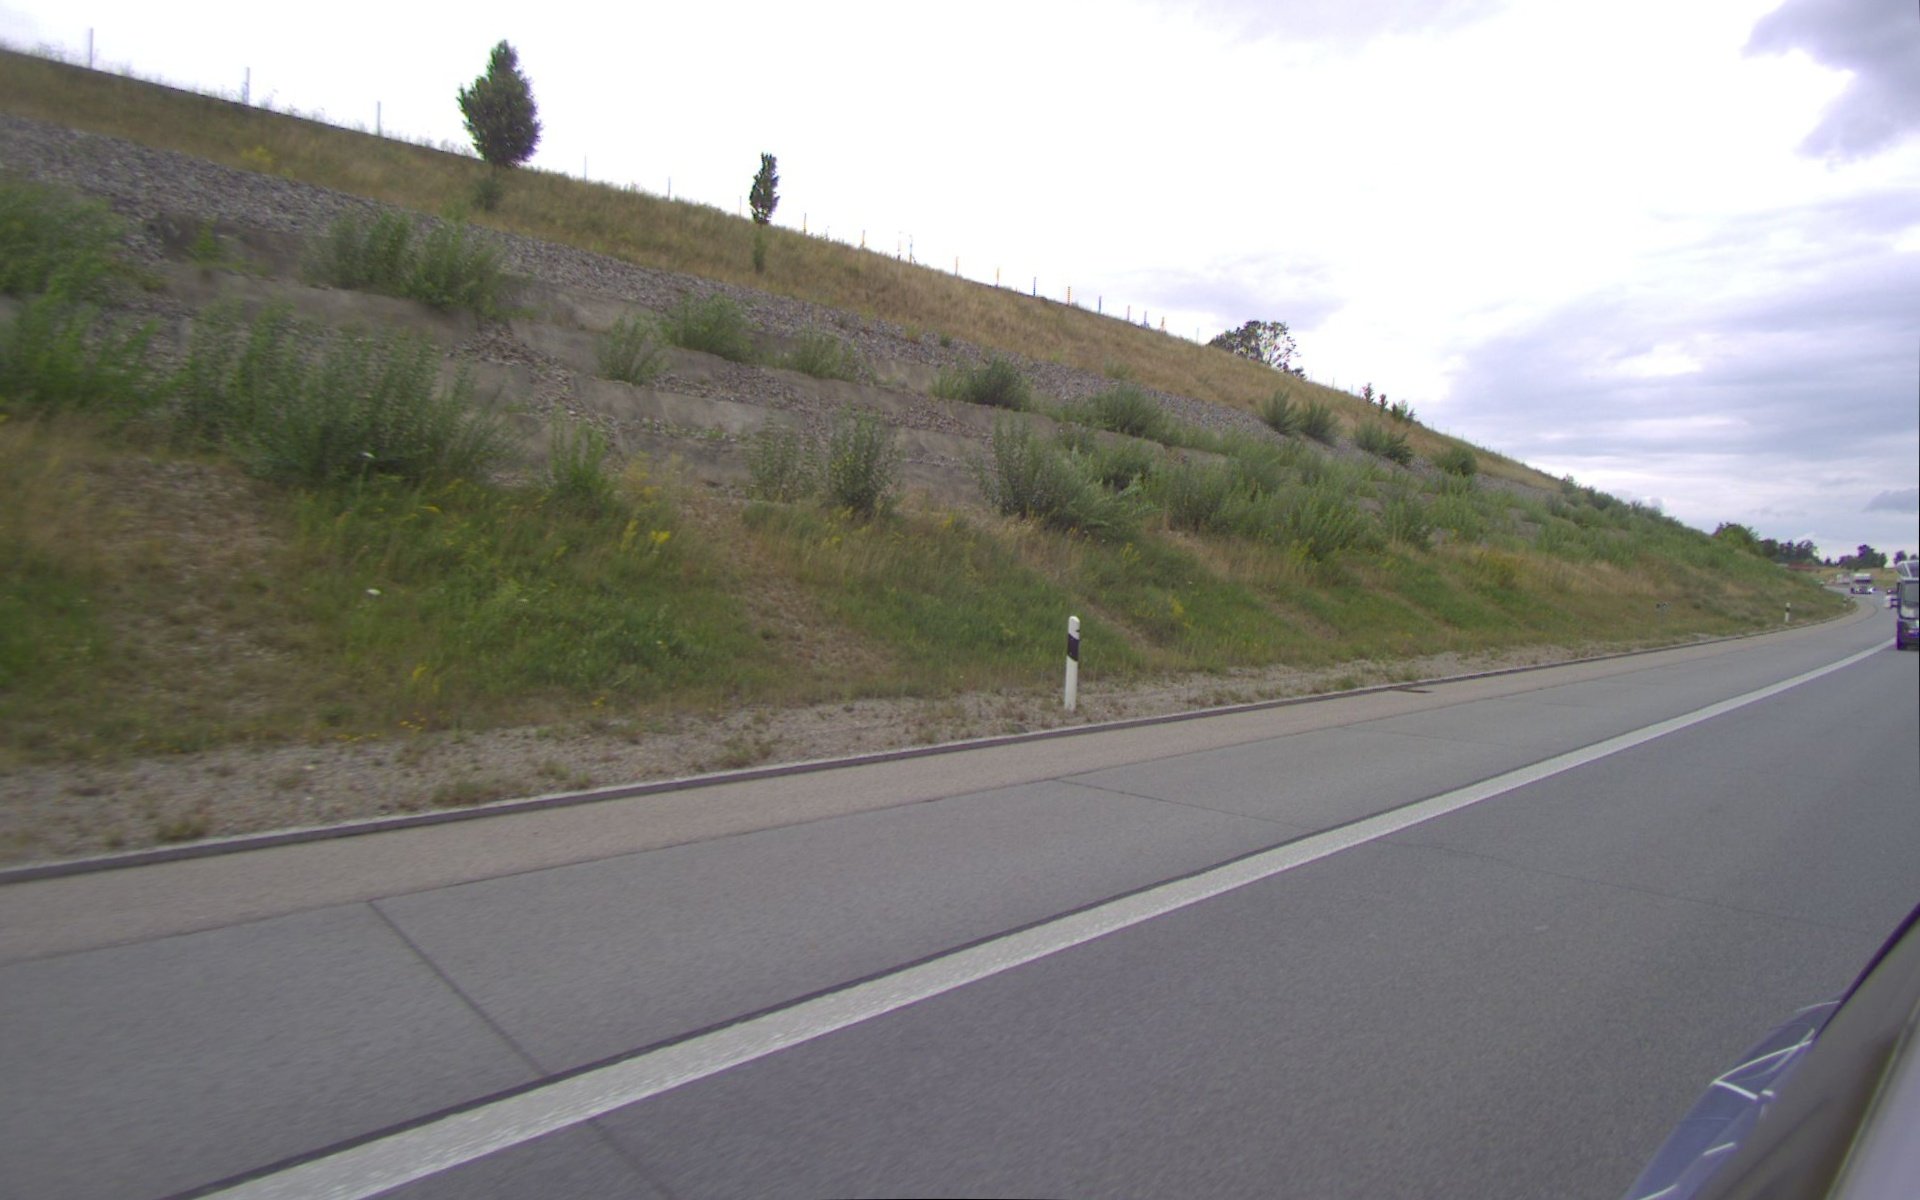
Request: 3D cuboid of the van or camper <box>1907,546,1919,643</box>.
[{"bbox_3d":[30.299,-0.182,30.562,6.787,2.771,2.100,-1,1,-44],"label":"van or camper"}]
